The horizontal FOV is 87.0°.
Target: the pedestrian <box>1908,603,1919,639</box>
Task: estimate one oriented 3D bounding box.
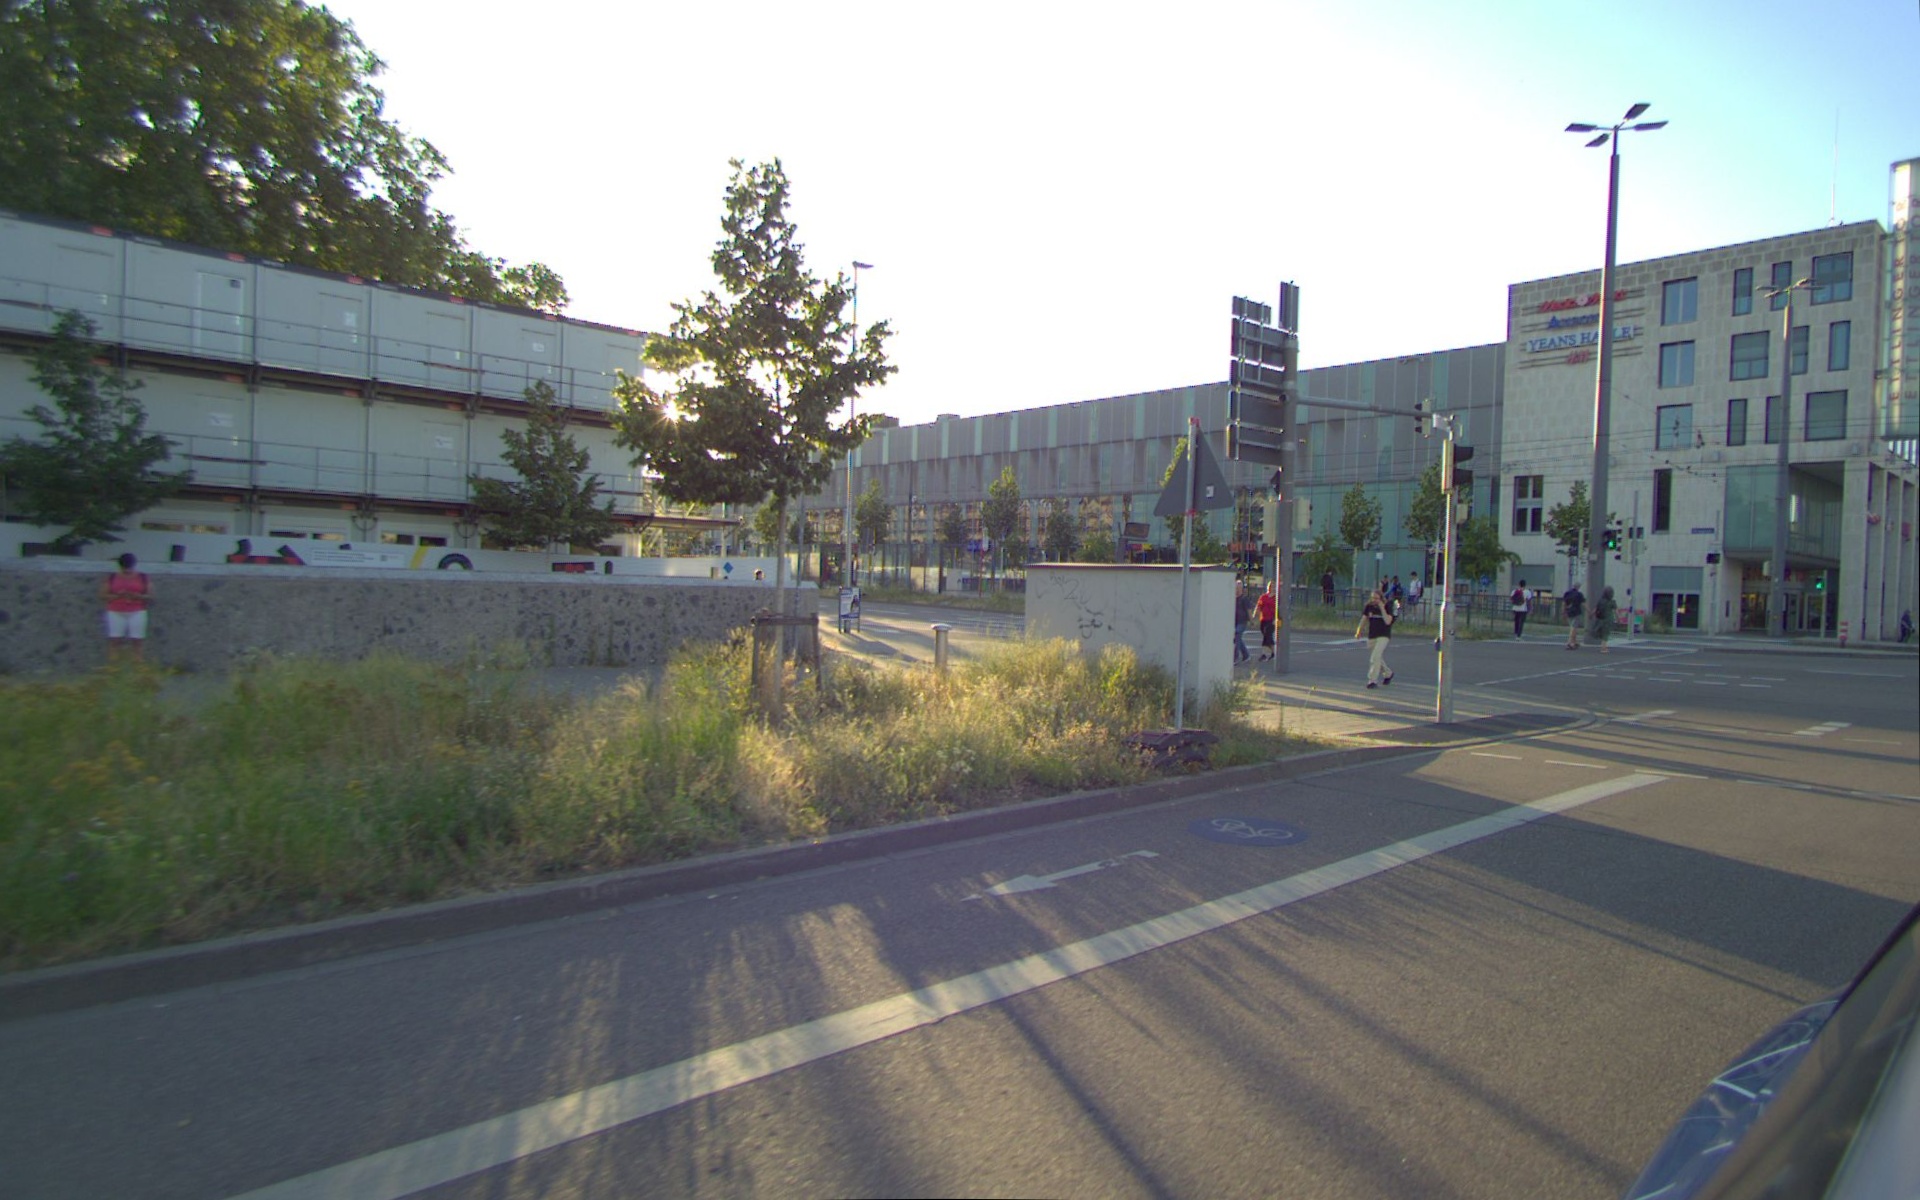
[{"bbox_3d":[45.733,1.008,48.173,0.819,1.727,0.764,1,1,-41],"label":"pedestrian"}]

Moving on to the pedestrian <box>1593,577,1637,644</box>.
[{"bbox_3d":[16.791,0.261,25.955,0.855,1.680,0.644,0,1,-37],"label":"pedestrian"}]

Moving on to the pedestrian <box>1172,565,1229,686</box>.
[{"bbox_3d":[3.996,0.403,16.818,0.608,1.957,0.644,1,1,-37],"label":"pedestrian"}]

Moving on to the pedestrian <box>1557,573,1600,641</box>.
[{"bbox_3d":[16.272,0.176,26.631,0.855,1.752,0.644,0,1,-37],"label":"pedestrian"}]

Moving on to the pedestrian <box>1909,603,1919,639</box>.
[{"bbox_3d":[46.471,1.016,48.935,0.762,1.727,0.821,3,1,42],"label":"pedestrian"}]

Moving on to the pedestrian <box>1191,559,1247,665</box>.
[{"bbox_3d":[5.062,0.225,19.767,0.748,1.992,0.644,1,2,-37],"label":"pedestrian"}]

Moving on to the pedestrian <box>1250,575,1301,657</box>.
[{"bbox_3d":[6.867,0.334,22.026,0.855,1.734,0.644,2,1,-37],"label":"pedestrian"}]

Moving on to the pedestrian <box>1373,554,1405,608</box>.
[{"bbox_3d":[15.456,-0.691,36.476,0.882,1.875,0.723,3,4,18],"label":"pedestrian"}]

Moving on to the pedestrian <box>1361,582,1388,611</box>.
[{"bbox_3d":[14.719,-0.121,35.944,0.643,0.975,0.648,1,1,-44],"label":"pedestrian"}]

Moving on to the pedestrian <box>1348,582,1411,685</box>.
[{"bbox_3d":[7.017,0.540,16.923,0.643,1.648,0.857,3,1,44],"label":"pedestrian"}]

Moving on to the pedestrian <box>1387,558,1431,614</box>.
[{"bbox_3d":[15.756,-0.508,35.519,0.985,1.875,0.896,0,4,-27],"label":"pedestrian"}]

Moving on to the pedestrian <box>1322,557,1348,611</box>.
[{"bbox_3d":[13.371,-0.573,36.126,0.575,1.877,0.604,1,1,-36],"label":"pedestrian"}]

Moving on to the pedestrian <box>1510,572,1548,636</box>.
[{"bbox_3d":[16.731,0.098,29.771,0.855,1.835,0.644,0,2,-37],"label":"pedestrian"}]

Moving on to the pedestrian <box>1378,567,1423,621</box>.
[{"bbox_3d":[15.007,-0.211,34.499,0.986,1.744,0.873,1,4,-13],"label":"pedestrian"}]

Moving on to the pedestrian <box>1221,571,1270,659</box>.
[{"bbox_3d":[5.908,0.293,20.955,0.749,1.733,0.644,-4,5,-37],"label":"pedestrian"}]

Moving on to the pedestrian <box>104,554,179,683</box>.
[{"bbox_3d":[-10.026,0.216,12.395,0.633,1.509,0.761,3,0,-42],"label":"pedestrian"}]

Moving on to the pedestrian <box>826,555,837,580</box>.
[{"bbox_3d":[-10.057,-2.548,79.388,0.604,1.875,0.728,0,4,-28],"label":"pedestrian"}]

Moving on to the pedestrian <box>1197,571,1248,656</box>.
[{"bbox_3d":[5.775,0.281,22.292,0.566,1.764,0.645,0,10,-37],"label":"pedestrian"}]
